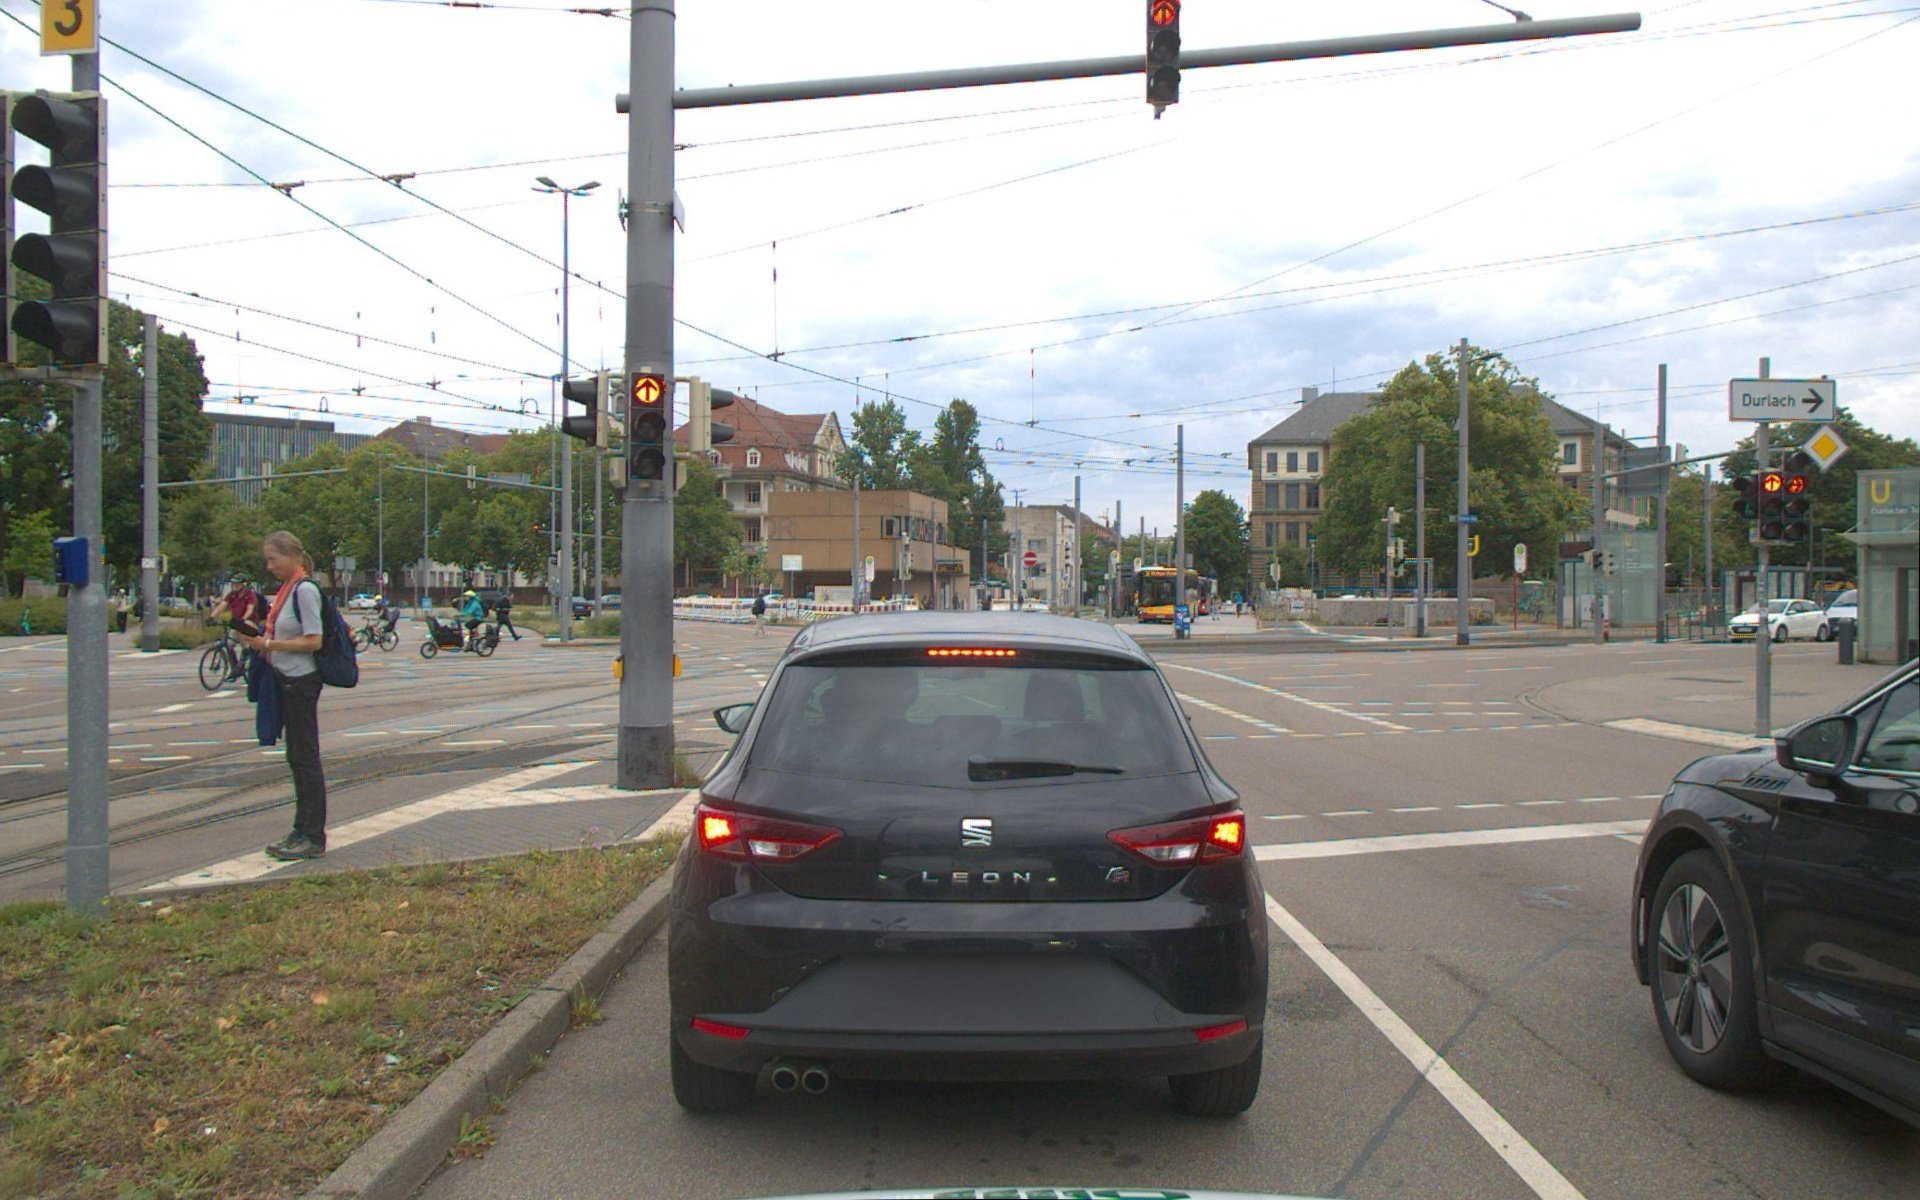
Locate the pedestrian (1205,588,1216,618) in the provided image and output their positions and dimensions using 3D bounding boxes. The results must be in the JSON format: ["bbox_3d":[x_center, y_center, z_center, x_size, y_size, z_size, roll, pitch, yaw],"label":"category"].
[{"bbox_3d":[15.997,0.196,105.596,0.583,1.917,0.531,0,0,26],"label":"pedestrian"}]

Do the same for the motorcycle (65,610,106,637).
[{"bbox_3d":[-36.974,0.983,69.938,0.499,1.130,1.746,0,0,12],"label":"motorcycle"}]

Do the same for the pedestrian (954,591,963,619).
[{"bbox_3d":[-0.112,0.337,113.616,0.608,1.951,0.711,0,0,2],"label":"pedestrian"}]

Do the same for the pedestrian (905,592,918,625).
[{"bbox_3d":[-2.869,0.507,97.309,0.693,1.951,0.624,0,0,7],"label":"pedestrian"}]

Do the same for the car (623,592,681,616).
[{"bbox_3d":[-22.848,0.323,122.667,3.905,1.713,2.000,0,-1,0],"label":"car"}]

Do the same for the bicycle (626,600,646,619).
[{"bbox_3d":[-21.385,0.618,109.278,0.879,1.199,2.286,0,0,-22],"label":"bicycle"}]

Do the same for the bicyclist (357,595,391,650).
[{"bbox_3d":[-18.541,0.701,52.312,0.850,1.702,0.644,0,0,-44],"label":"bicyclist"}]

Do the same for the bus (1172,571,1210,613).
[{"bbox_3d":[19.165,-0.655,136.952,2.597,3.340,11.004,0,0,10],"label":"bus"}]

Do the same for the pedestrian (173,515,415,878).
[{"bbox_3d":[-3.814,0.519,9.496,1.096,1.940,0.724,1,-1,-44],"label":"pedestrian"}]

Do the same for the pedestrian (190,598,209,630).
[{"bbox_3d":[-47.888,0.870,104.125,0.862,2.016,0.794,0,-1,-10],"label":"pedestrian"}]

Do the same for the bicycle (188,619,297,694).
[{"bbox_3d":[-12.259,0.943,28.321,0.758,1.205,2.034,0,0,8],"label":"bicycle"}]

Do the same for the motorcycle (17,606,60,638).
[{"bbox_3d":[-37.893,0.881,67.996,0.503,1.290,1.463,0,0,43],"label":"motorcycle"}]

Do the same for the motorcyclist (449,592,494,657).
[{"bbox_3d":[-12.865,0.637,43.563,0.968,1.678,0.741,0,-1,-34],"label":"motorcyclist"}]

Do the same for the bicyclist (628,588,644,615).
[{"bbox_3d":[-21.399,0.119,109.330,0.870,1.762,0.888,0,0,-22],"label":"bicyclist"}]

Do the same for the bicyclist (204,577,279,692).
[{"bbox_3d":[-12.277,0.575,28.272,0.759,1.931,0.998,0,0,8],"label":"bicyclist"}]

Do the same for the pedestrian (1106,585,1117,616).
[{"bbox_3d":[9.548,0.006,104.265,0.608,1.951,0.699,0,0,9],"label":"pedestrian"}]

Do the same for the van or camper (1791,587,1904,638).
[{"bbox_3d":[32.118,0.471,59.831,4.257,1.773,1.974,0,-1,-36],"label":"van or camper"}]

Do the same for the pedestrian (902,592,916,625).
[{"bbox_3d":[-2.986,0.493,96.511,0.693,1.951,0.624,0,0,7],"label":"pedestrian"}]

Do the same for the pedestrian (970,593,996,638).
[{"bbox_3d":[1.029,0.678,72.937,0.687,1.968,1.026,0,0,38],"label":"pedestrian"}]

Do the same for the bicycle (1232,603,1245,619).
[{"bbox_3d":[20.769,0.818,123.300,0.847,1.124,2.304,0,0,11],"label":"bicycle"}]

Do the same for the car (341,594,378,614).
[{"bbox_3d":[-54.939,0.331,151.291,1.703,1.803,3.936,0,0,-43],"label":"car"}]

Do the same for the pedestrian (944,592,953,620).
[{"bbox_3d":[-0.772,0.404,113.634,0.608,1.951,0.711,0,0,2],"label":"pedestrian"}]

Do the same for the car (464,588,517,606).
[{"bbox_3d":[-39.522,-0.219,139.223,3.903,1.489,1.782,0,0,3],"label":"car"}]

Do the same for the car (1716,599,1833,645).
[{"bbox_3d":[27.506,0.734,55.826,3.948,1.490,1.756,0,-1,-32],"label":"car"}]

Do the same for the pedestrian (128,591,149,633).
[{"bbox_3d":[-39.954,0.582,80.415,0.787,2.016,0.870,1,-2,-35],"label":"pedestrian"}]

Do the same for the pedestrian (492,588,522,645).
[{"bbox_3d":[-16.368,0.592,59.728,1.006,2.049,0.841,0,0,-20],"label":"pedestrian"}]

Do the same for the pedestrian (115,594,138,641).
[{"bbox_3d":[-36.412,0.765,72.280,0.787,2.016,0.870,1,-2,-35],"label":"pedestrian"}]

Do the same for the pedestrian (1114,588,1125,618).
[{"bbox_3d":[10.184,0.185,105.681,0.608,1.951,0.711,0,0,2],"label":"pedestrian"}]

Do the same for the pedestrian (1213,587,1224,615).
[{"bbox_3d":[18.984,0.085,121.388,0.648,2.049,0.691,0,0,-1],"label":"pedestrian"}]

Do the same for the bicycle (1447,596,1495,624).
[{"bbox_3d":[25.529,0.496,82.627,2.214,1.354,0.707,-1,-1,6],"label":"bicycle"}]

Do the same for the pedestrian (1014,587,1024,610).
[{"bbox_3d":[4.891,-0.121,137.537,0.609,1.952,0.710,-1,-1,25],"label":"pedestrian"}]

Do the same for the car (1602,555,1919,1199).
[{"bbox_3d":[3.265,0.704,3.762,1.741,1.625,4.508,0,0,-2],"label":"car"}]

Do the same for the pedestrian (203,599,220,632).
[{"bbox_3d":[-46.869,0.969,103.601,0.865,2.016,0.791,0,-1,-19],"label":"pedestrian"}]

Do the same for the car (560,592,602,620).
[{"bbox_3d":[-23.943,0.384,104.381,1.966,1.713,3.973,0,-1,-22],"label":"car"}]

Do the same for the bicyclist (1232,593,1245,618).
[{"bbox_3d":[20.779,0.401,123.379,0.852,1.884,1.048,0,0,12],"label":"bicyclist"}]

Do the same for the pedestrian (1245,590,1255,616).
[{"bbox_3d":[23.240,0.249,132.641,0.648,2.049,0.691,0,0,-1],"label":"pedestrian"}]

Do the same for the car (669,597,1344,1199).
[{"bbox_3d":[-0.021,0.736,5.970,1.671,1.474,3.808,0,0,-5],"label":"car"}]

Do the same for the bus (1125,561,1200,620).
[{"bbox_3d":[11.561,-0.522,93.624,2.897,3.178,11.548,0,0,14],"label":"bus"}]

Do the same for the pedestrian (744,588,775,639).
[{"bbox_3d":[-7.858,0.520,64.805,1.015,1.968,0.695,0,0,-26],"label":"pedestrian"}]

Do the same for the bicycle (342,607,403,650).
[{"bbox_3d":[-18.560,0.887,52.289,1.722,1.345,0.635,0,0,-44],"label":"bicycle"}]

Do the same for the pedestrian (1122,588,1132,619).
[{"bbox_3d":[10.562,0.196,104.683,0.608,1.951,0.699,0,0,9],"label":"pedestrian"}]

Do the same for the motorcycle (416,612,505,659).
[{"bbox_3d":[-13.096,0.919,43.397,2.115,1.159,0.735,0,0,-34],"label":"motorcycle"}]
